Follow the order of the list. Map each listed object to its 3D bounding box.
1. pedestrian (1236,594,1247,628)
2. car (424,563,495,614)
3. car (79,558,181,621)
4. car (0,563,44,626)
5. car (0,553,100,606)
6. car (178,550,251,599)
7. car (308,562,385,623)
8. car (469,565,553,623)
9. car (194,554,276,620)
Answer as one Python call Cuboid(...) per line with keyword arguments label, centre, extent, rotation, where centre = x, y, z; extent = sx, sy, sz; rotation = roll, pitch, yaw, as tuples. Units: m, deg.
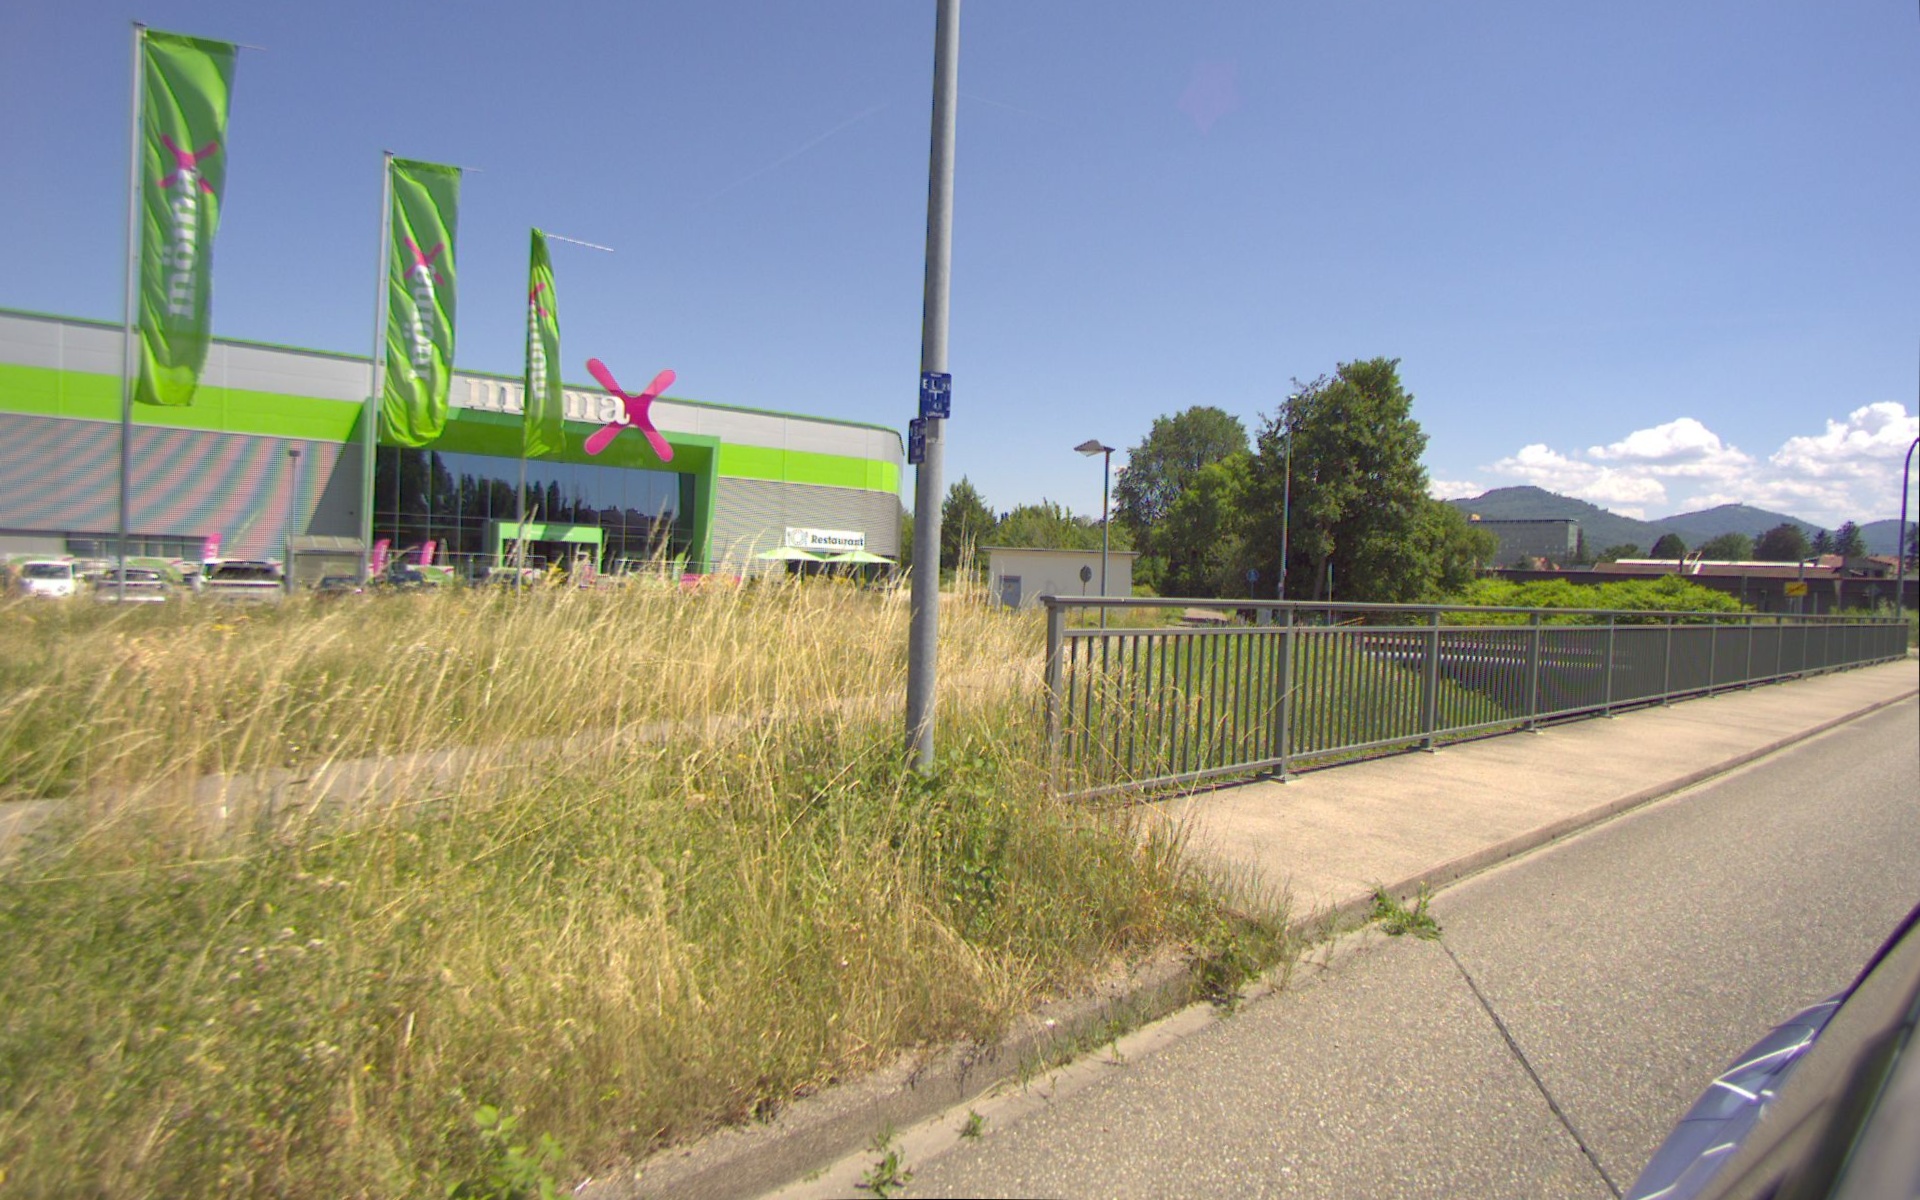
Cuboid(label="pedestrian", centre=(13.013, 0.515, 46.782), extent=(0.433, 1.558, 0.410), rotation=(1, -1, 24))
Cuboid(label="car", centre=(-18.940, -0.481, 38.216), extent=(1.879, 1.674, 4.003), rotation=(0, 4, -34))
Cuboid(label="car", centre=(-23.709, -0.349, 29.047), extent=(1.879, 1.566, 4.003), rotation=(0, 4, -34))
Cuboid(label="car", centre=(-26.146, -0.190, 27.079), extent=(1.879, 1.479, 4.003), rotation=(0, 4, -34))
Cuboid(label="car", centre=(-29.489, -0.706, 32.863), extent=(1.910, 1.523, 4.003), rotation=(0, 4, -34))
Cuboid(label="car", centre=(-26.120, -0.933, 35.573), extent=(1.910, 1.523, 4.003), rotation=(0, 4, -34))
Cuboid(label="car", centre=(-19.274, -0.294, 31.728), extent=(1.879, 1.674, 4.003), rotation=(0, 4, -34))
Cuboid(label="car", centre=(-14.935, -0.248, 33.543), extent=(1.879, 1.674, 4.003), rotation=(0, 4, -34))
Cuboid(label="car", centre=(-21.491, -0.441, 30.126), extent=(1.879, 1.717, 4.003), rotation=(0, 4, -34))
